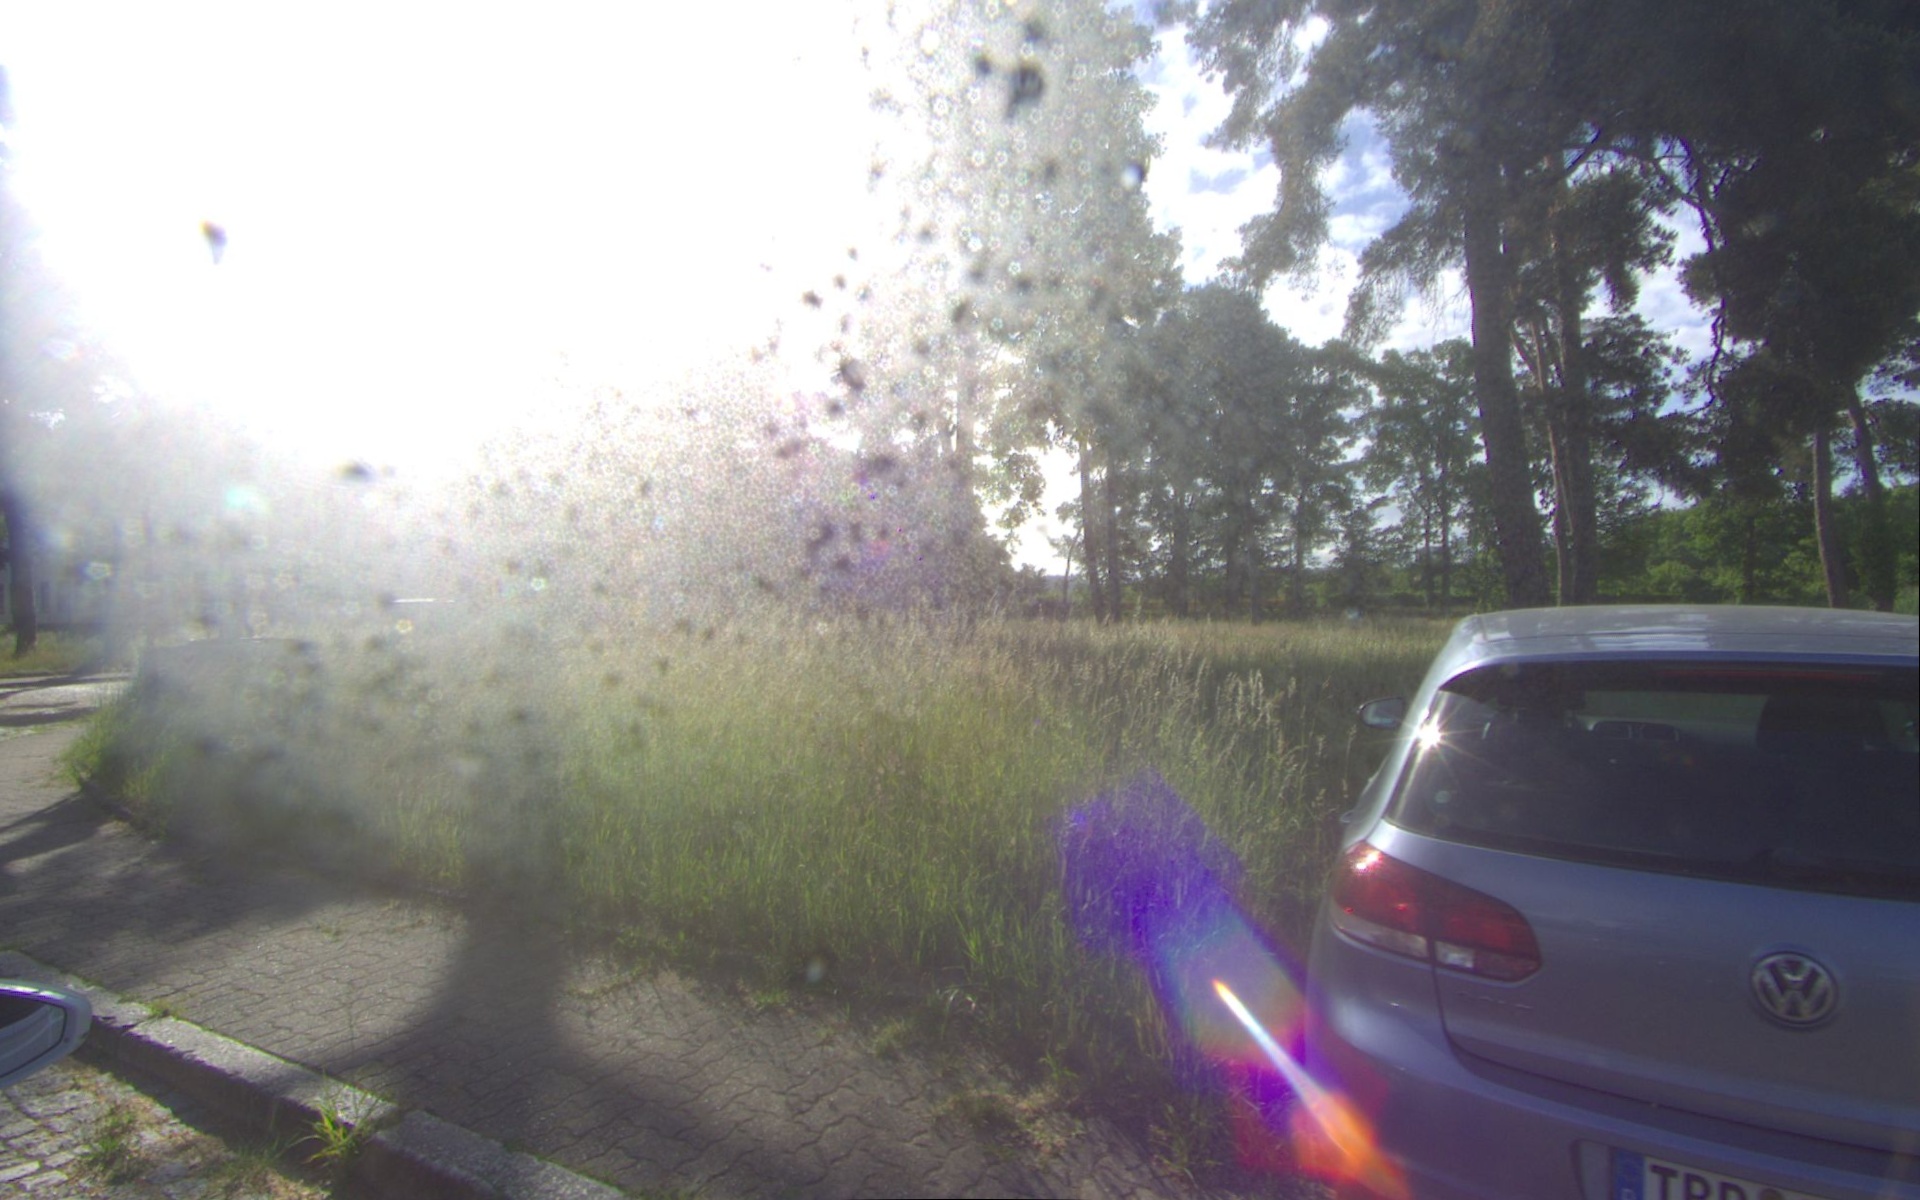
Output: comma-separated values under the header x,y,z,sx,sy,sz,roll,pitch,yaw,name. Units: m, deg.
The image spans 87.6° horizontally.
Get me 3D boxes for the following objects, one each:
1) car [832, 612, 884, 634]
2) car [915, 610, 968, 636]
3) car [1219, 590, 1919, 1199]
x,y,z,sx,sy,sz,roll,pitch,yaw,name
-7.119,1.564,70.198,1.818,1.483,3.985,-1,-1,27,car
-1.166,1.485,65.794,1.827,1.619,3.985,0,-1,27,car
2.331,0.722,3.321,1.843,1.480,4.009,-1,0,30,car
